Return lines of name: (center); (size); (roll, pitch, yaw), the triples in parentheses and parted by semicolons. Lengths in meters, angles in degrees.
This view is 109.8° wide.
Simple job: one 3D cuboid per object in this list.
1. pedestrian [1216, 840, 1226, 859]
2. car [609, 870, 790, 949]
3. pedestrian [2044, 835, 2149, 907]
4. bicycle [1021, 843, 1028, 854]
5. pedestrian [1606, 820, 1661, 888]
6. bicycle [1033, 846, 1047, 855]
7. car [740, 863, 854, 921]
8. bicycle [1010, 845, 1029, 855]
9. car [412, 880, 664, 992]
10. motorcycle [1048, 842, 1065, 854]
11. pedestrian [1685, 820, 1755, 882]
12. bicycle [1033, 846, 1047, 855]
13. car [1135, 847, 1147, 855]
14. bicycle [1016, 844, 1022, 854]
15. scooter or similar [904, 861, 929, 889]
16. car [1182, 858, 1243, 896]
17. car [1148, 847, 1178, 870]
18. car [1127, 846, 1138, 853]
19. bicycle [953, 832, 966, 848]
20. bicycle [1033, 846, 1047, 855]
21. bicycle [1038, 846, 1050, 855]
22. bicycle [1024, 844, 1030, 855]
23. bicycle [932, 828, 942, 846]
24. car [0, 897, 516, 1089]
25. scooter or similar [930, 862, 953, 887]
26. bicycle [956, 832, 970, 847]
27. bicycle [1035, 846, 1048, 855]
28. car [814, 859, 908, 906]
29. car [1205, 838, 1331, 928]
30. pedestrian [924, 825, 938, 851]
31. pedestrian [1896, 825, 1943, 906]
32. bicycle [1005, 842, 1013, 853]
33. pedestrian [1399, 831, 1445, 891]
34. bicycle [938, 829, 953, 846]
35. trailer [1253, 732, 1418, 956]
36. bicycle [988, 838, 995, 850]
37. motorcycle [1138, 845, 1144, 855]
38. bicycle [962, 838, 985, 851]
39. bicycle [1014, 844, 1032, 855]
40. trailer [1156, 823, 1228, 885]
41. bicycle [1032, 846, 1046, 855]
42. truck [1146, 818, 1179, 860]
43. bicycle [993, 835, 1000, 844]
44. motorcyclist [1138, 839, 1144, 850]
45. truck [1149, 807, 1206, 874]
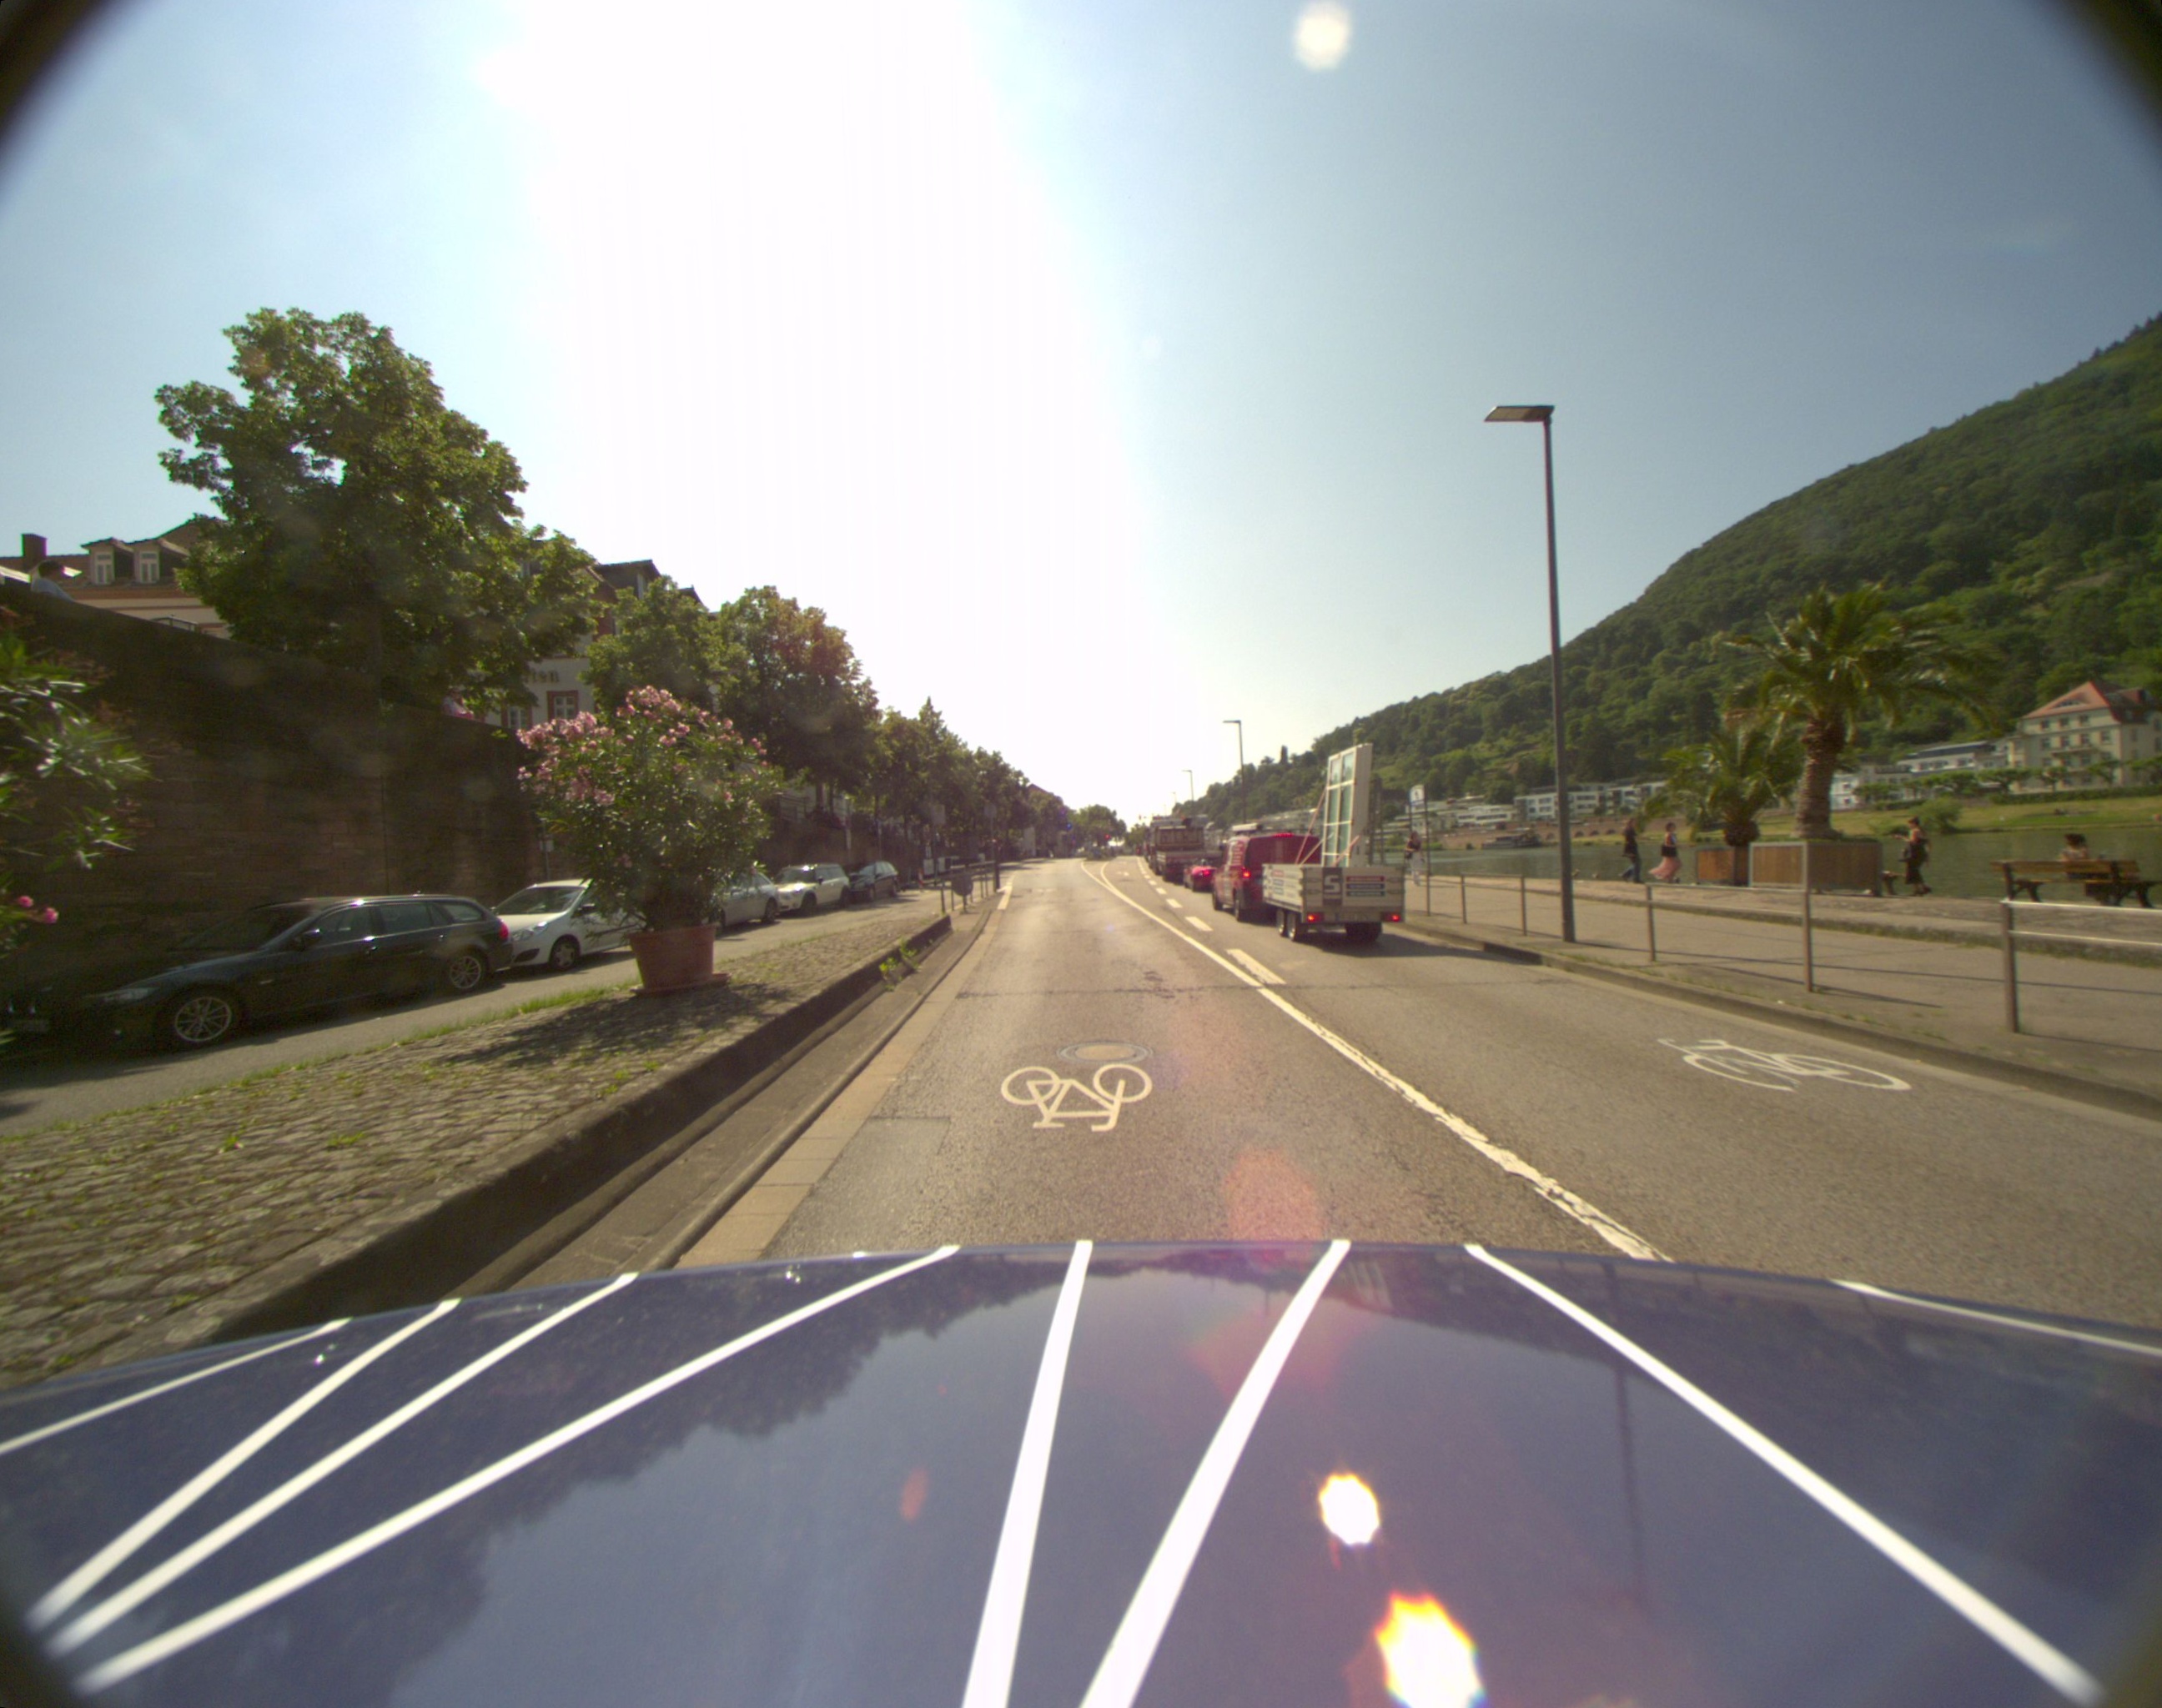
pedestrian: (12.473, -0.385, 67.833); (0.713, 1.697, 0.845); (-2, 1, 5)
car: (-8.963, 1.225, 18.431); (1.758, 1.424, 4.756); (-3, 1, 2)
pedestrian: (16.462, 0.265, 12.331); (0.943, 1.138, 0.507); (0, 1, 5)
bicycle: (-6.488, -0.611, 87.327); (0.476, 1.254, 2.162); (0, 1, 1)
pedestrian: (14.034, -0.003, 19.301); (0.797, 1.682, 0.844); (-3, 1, -33)
bicycle: (-5.256, -0.406, 97.313); (1.753, 1.126, 0.540); (0, 1, -3)
car: (-8.455, 1.084, 23.009); (1.615, 1.405, 3.904); (-3, 1, 5)
bicycle: (-7.375, -0.484, 91.471); (2.160, 1.255, 0.477); (0, 1, 3)
car: (-9.168, 1.298, 13.241); (1.715, 1.449, 3.547); (-3, 1, 1)
motorcycle: (-3.260, -0.753, 101.910); (2.195, 1.519, 0.800); (-1, 1, 40)
pedestrian: (16.265, -0.083, 19.370); (0.795, 1.525, 1.115); (1, 1, 0)
bicycle: (-5.325, -0.416, 97.872); (1.753, 1.126, 0.464); (0, 1, -1)
car: (11.591, -0.623, 147.571); (1.998, 1.444, 4.261); (-3, 1, 2)
bicycle: (-6.734, -0.569, 83.058); (0.301, 1.043, 2.163); (0, 0, 5)
scooter or similar: (-7.661, 0.957, 35.493); (0.532, 1.223, 1.272); (-1, 1, 17)
car: (4.792, 0.804, 28.100); (1.675, 1.187, 3.628); (-1, 1, 1)
car: (5.560, 0.280, 51.834); (1.782, 1.435, 3.997); (-2, 1, 3)
car: (11.060, -0.941, 163.327); (1.908, 1.428, 3.890); (-3, 1, -3)
bicycle: (-8.902, -1.036, 55.585); (0.411, 1.099, 1.735); (-2, 1, 8)
bicycle: (-5.354, -0.446, 98.716); (1.753, 1.126, 0.464); (0, 1, -1)
bicycle: (-4.958, -0.459, 101.991); (1.628, 1.163, 0.367); (0, 1, 22)
bicycle: (-6.339, -0.541, 89.583); (0.476, 1.254, 2.162); (0, 1, 1)
bicycle: (-9.363, -1.097, 49.469); (0.411, 1.099, 1.734); (-2, 1, -4)
car: (-9.507, 1.386, 9.107); (1.714, 1.380, 4.409); (-1, 1, 8)
scooter or similar: (-6.619, 0.954, 36.158); (0.532, 1.083, 1.440); (-1, 1, 13)
bicycle: (-8.885, -1.058, 57.278); (0.411, 1.099, 1.925); (-2, 1, 8)
bicycle: (-5.272, -0.452, 101.043); (1.631, 1.163, 0.350); (0, 1, -1)
car: (-8.044, 0.986, 28.238); (1.847, 1.442, 4.535); (-3, 1, 4)
car: (4.197, 0.579, 17.801); (1.879, 1.817, 4.544); (-1, 0, 1)
pedestrian: (-10.382, -1.105, 52.633); (0.720, 1.711, 0.711); (-2, 1, 3)
pedestrian: (17.229, 0.229, 15.609); (0.681, 1.592, 0.593); (-3, 1, -41)
bicycle: (-7.216, -0.641, 76.564); (0.345, 1.106, 1.920); (-2, 1, 8)
pedestrian: (10.112, 0.203, 22.586); (0.818, 1.691, 1.151); (-3, 1, 1)
bicycle: (-9.176, -1.094, 51.438); (0.411, 1.099, 1.735); (-1, 1, 8)
trailer: (4.162, -0.156, 12.994); (1.746, 3.301, 3.384); (-1, 1, 2)
bicycle: (-7.878, -0.873, 67.193); (0.299, 0.999, 1.941); (-2, 0, 2)
motorcycle: (8.159, -0.590, 103.571); (0.728, 1.379, 2.512); (-2, 1, 6)
bicycle: (-9.036, -0.791, 63.647); (1.858, 0.999, 0.299); (-2, 0, 1)
bicycle: (-7.127, -0.572, 93.544); (2.160, 1.360, 0.584); (0, 1, 3)
trailer: (4.987, -0.085, 35.258); (2.703, 2.516, 6.947); (-1, 2, 3)
bicycle: (-5.392, -0.431, 98.279); (1.753, 1.126, 0.464); (0, 1, -1)
truck: (7.304, -1.318, 69.448); (2.648, 3.456, 11.109); (-2, 1, 5)
bicycle: (-7.783, -1.331, 70.205); (0.350, 0.779, 1.919); (-2, 0, 1)
motorcyclist: (8.182, -1.303, 103.193); (0.703, 1.518, 0.861); (-2, 1, 5)
truck: (5.390, -0.802, 43.663); (2.648, 3.437, 7.871); (-1, 1, 3)
